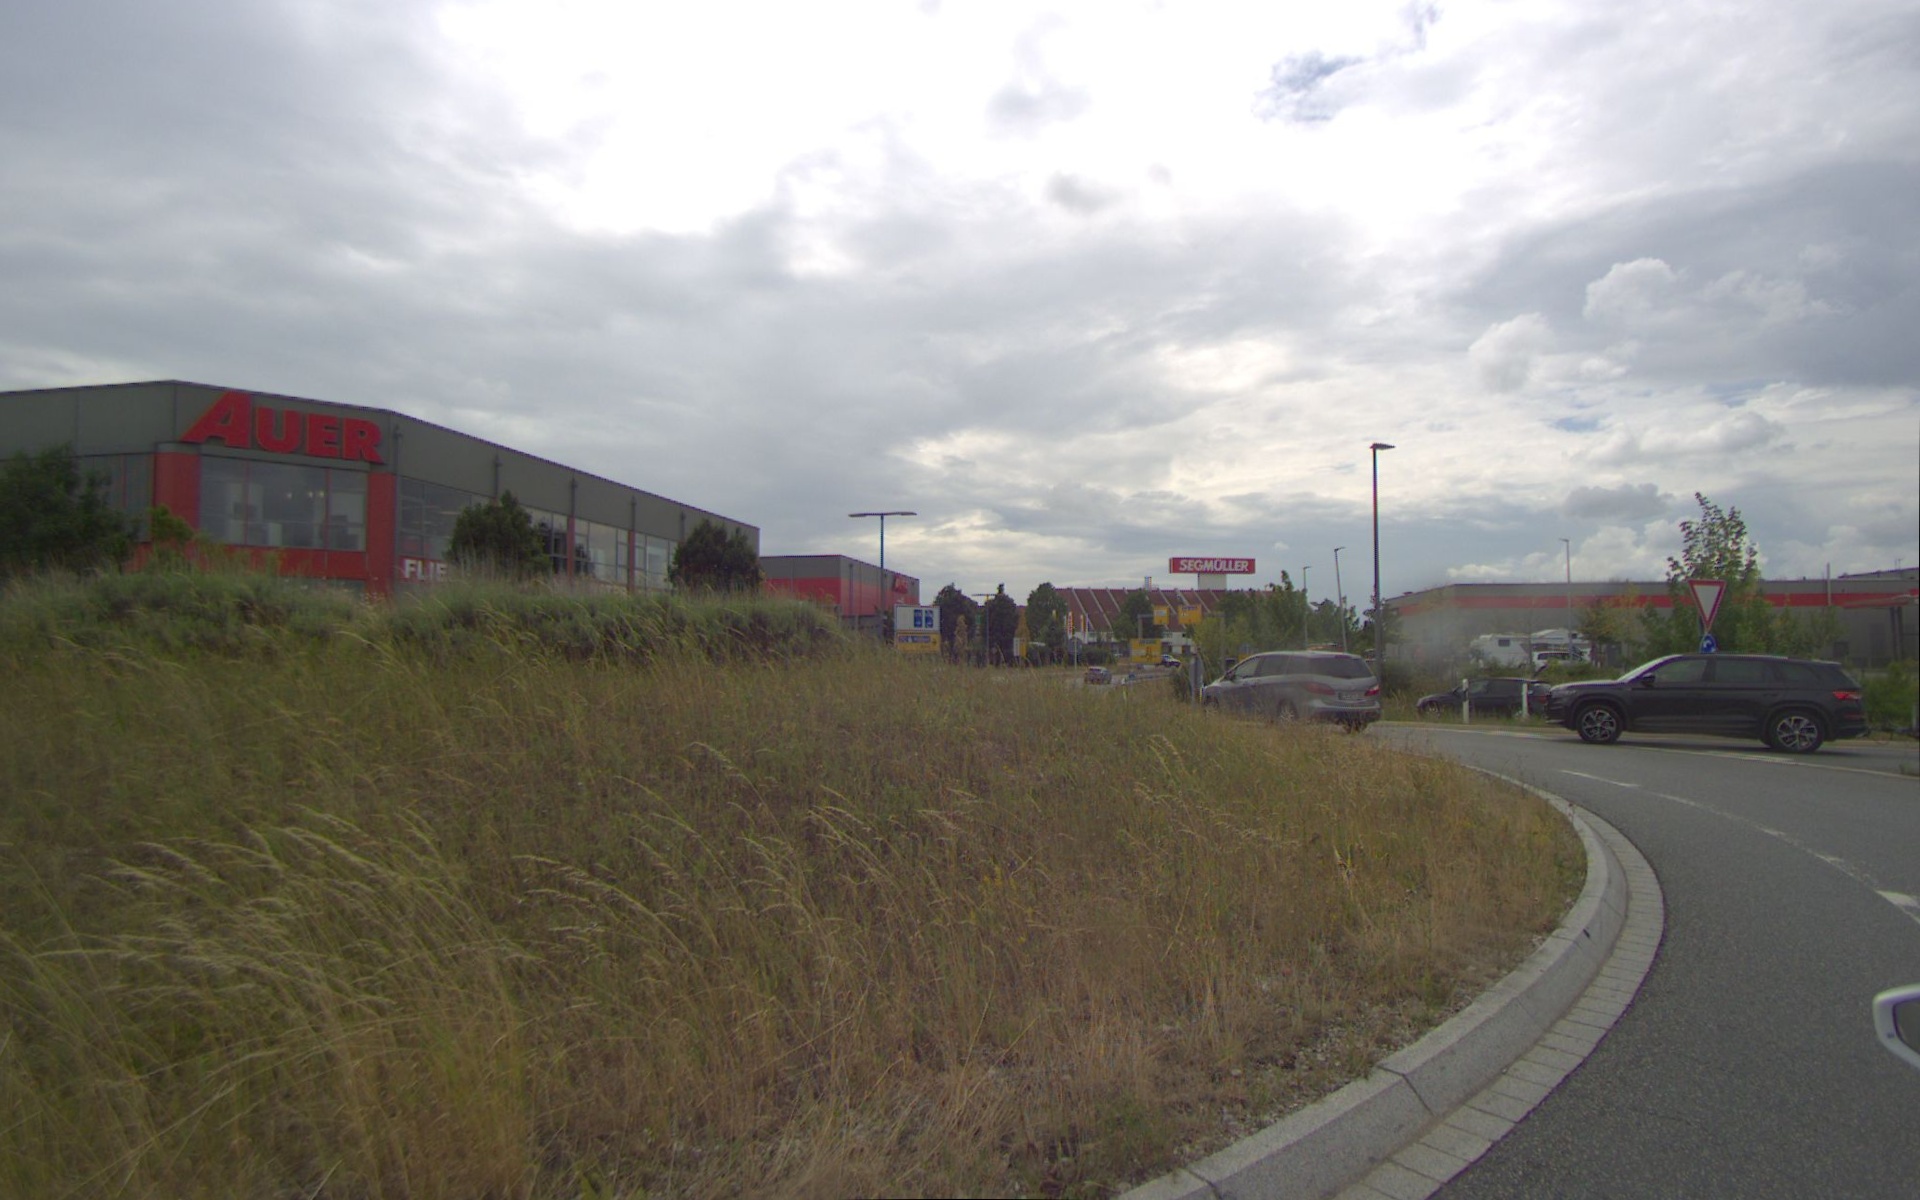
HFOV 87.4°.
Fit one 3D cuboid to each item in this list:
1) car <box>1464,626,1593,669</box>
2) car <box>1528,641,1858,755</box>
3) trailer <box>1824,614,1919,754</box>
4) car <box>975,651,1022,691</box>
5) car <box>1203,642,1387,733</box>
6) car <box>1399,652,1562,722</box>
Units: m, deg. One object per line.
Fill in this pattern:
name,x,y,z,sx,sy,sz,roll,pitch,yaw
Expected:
car,40.042,3.288,70.896,7.533,2.857,2.472,1,-1,8
car,13.027,1.670,18.253,4.602,1.783,1.995,-1,-3,33
trailer,16.945,1.362,16.161,4.293,2.213,1.997,0,-1,30
car,1.878,3.357,48.021,1.741,1.639,4.003,0,-1,10
car,6.802,1.721,20.848,1.714,1.619,3.986,0,-2,-15
car,15.155,2.475,29.426,1.639,1.773,3.963,1,-1,-33
